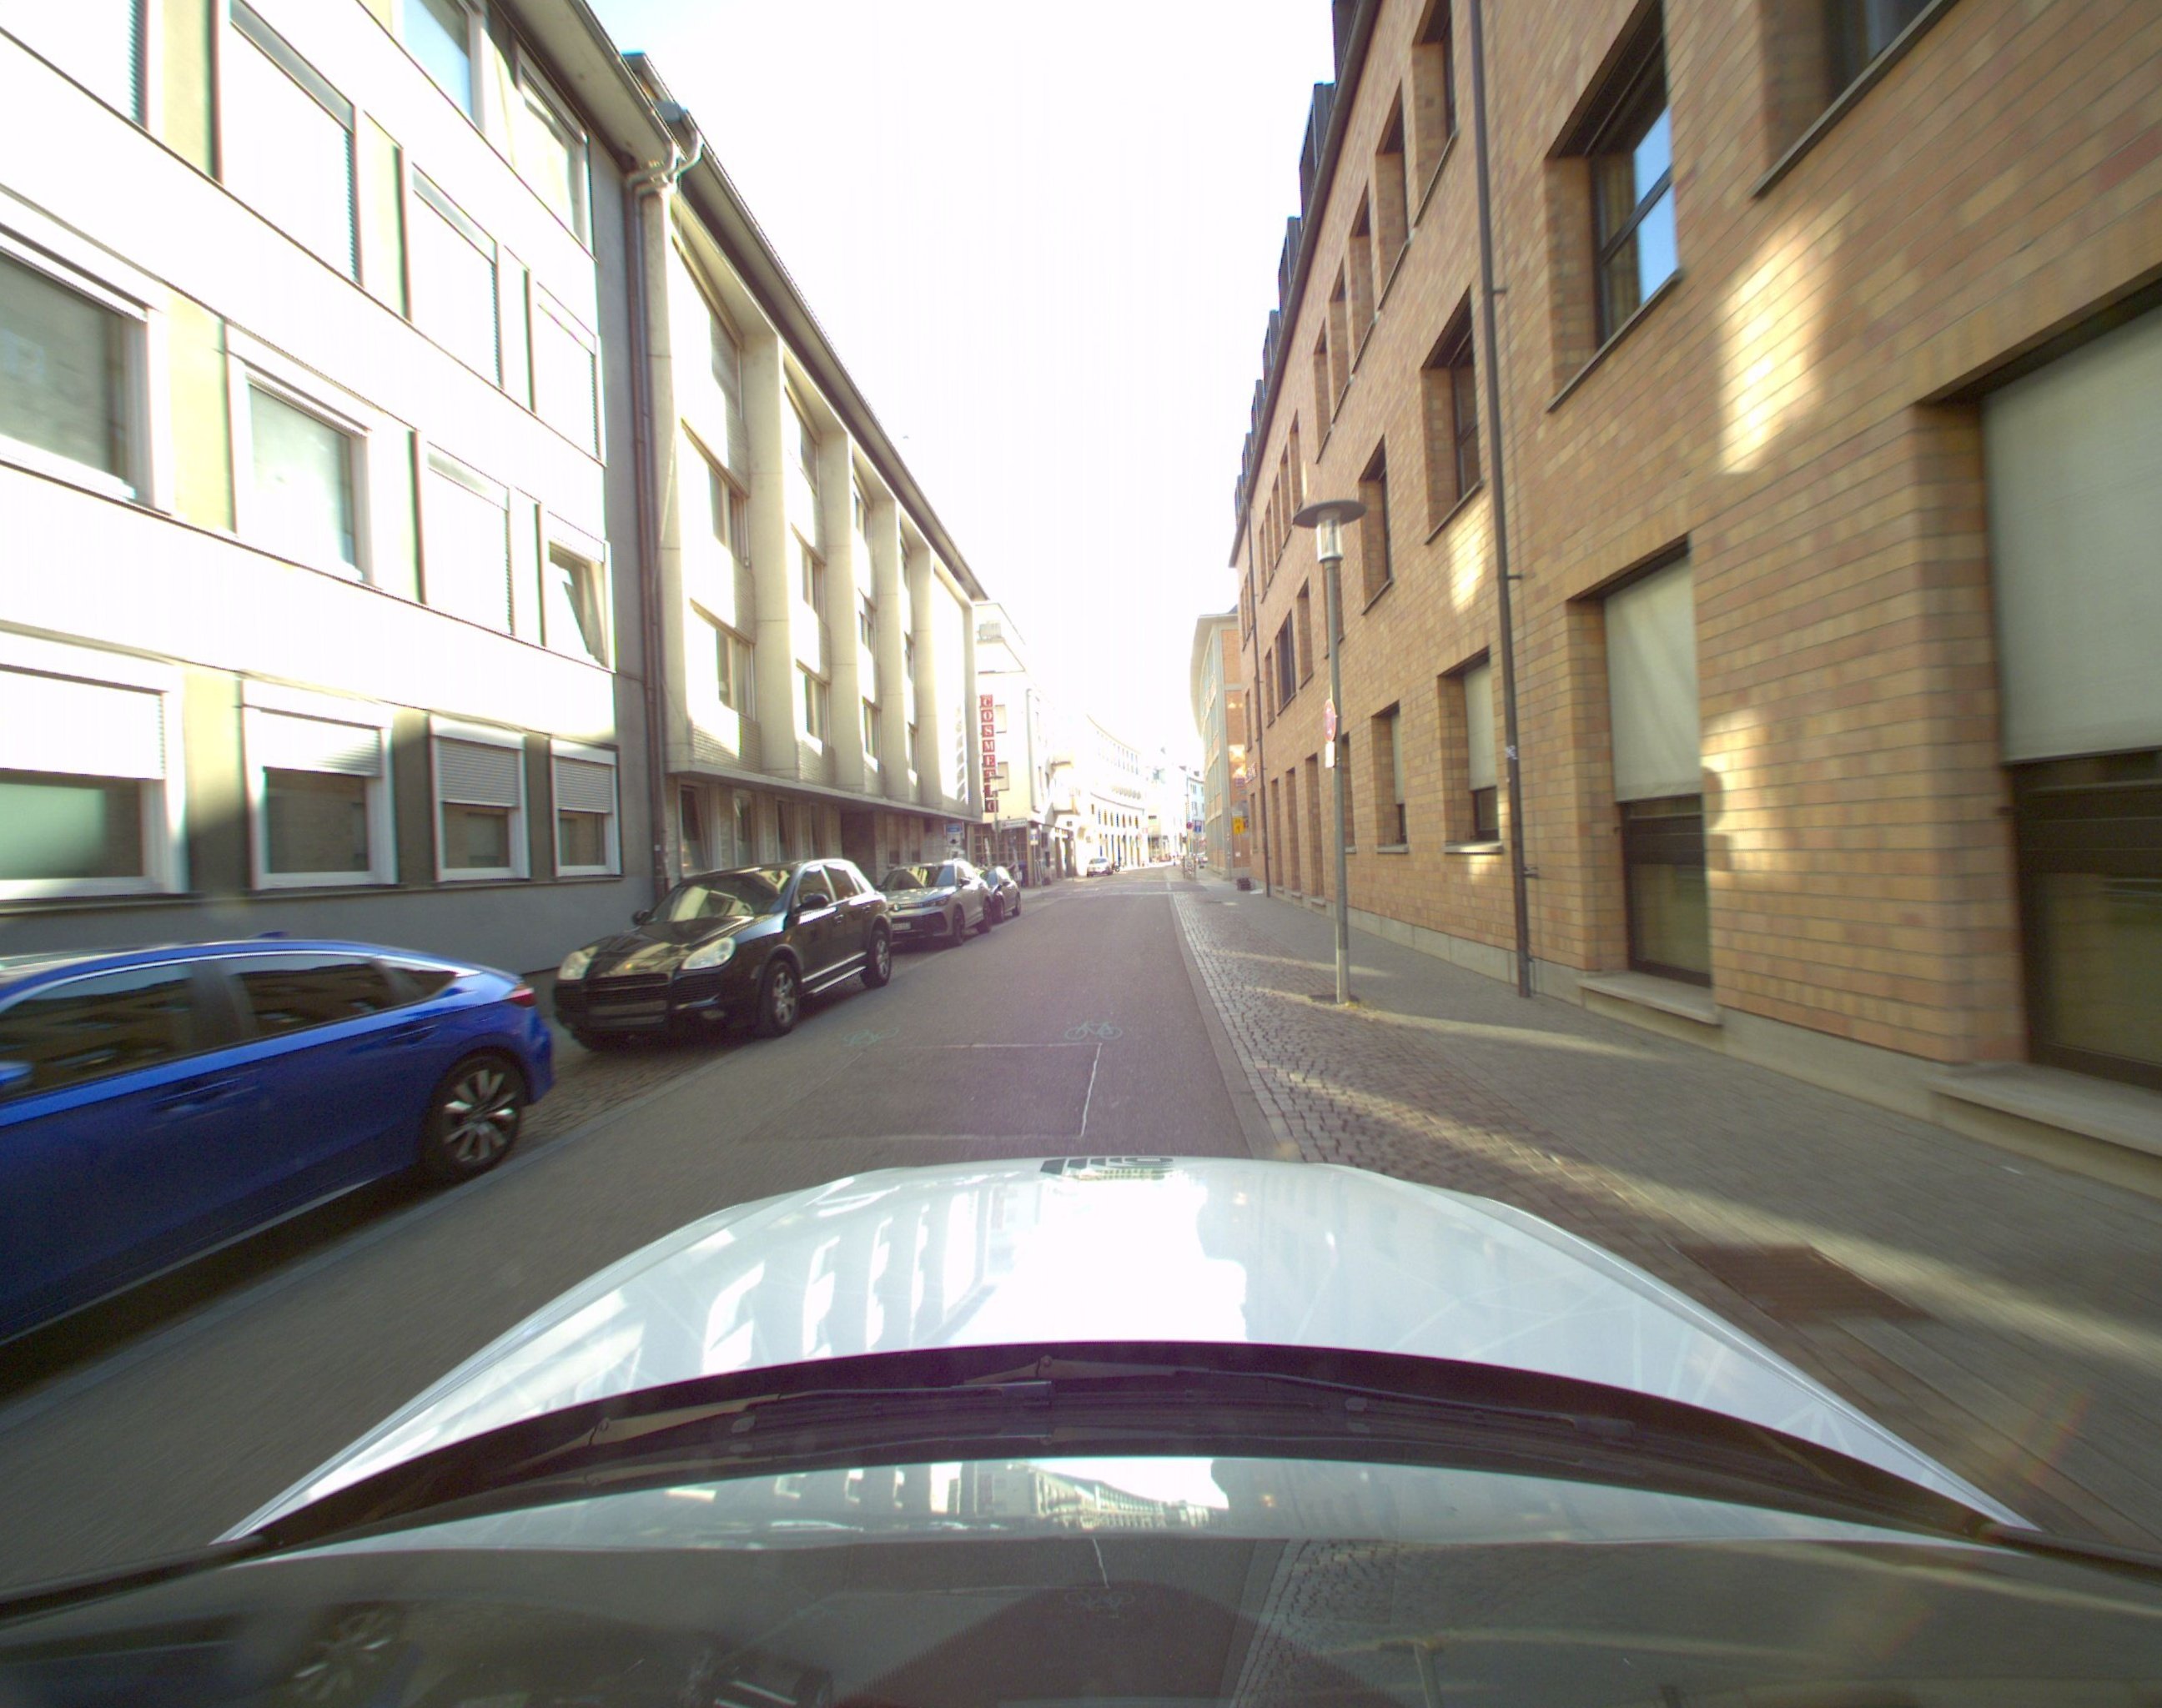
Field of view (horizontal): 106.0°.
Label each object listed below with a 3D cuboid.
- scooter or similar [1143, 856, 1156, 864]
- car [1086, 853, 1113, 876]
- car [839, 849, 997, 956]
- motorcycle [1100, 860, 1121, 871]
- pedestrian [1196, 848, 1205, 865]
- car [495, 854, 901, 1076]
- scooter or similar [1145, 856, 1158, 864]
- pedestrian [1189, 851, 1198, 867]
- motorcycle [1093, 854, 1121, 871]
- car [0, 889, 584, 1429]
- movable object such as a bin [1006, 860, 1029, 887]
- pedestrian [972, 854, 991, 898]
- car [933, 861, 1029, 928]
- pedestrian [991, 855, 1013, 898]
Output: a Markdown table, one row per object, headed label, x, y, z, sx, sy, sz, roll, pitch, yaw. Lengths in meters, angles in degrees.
| label | x | y | z | sx | sy | sz | roll | pitch | yaw |
| --- | --- | --- | --- | --- | --- | --- | --- | --- | --- |
| scooter or similar | 8.756 | 0.778 | 104.191 | 0.520 | 0.928 | 2.242 | -2 | 0 | 35 |
| car | 1.425 | 0.801 | 61.937 | 1.728 | 1.606 | 3.539 | -2 | 0 | 6 |
| car | -3.064 | 0.830 | 16.374 | 1.881 | 1.742 | 4.396 | -4 | 0 | 4 |
| motorcycle | 2.506 | 0.995 | 69.422 | 1.681 | 0.859 | 0.596 | -1 | -1 | 10 |
| pedestrian | 13.113 | 0.252 | 89.148 | 0.662 | 1.869 | 0.754 | -1 | -1 | -25 |
| car | -3.645 | 0.914 | 8.923 | 1.881 | 1.675 | 4.560 | -4 | 0 | 5 |
| scooter or similar | 9.275 | 0.774 | 107.271 | 0.520 | 0.928 | 2.242 | -2 | 0 | 35 |
| pedestrian | 13.114 | 0.612 | 94.645 | 0.662 | 1.869 | 0.780 | -1 | -1 | -25 |
| motorcycle | 2.302 | 0.792 | 73.228 | 2.379 | 1.317 | 0.863 | -4 | 0 | 5 |
| car | -4.274 | 1.058 | 3.058 | 1.882 | 1.530 | 4.343 | -4 | 0 | 3 |
| movable object such as a bin | -3.516 | 1.078 | 45.113 | 0.939 | 1.420 | 0.874 | 0 | -1 | -42 |
| pedestrian | -3.986 | 0.891 | 32.675 | 0.443 | 1.738 | 0.556 | -3 | 0 | 28 |
| car | -2.624 | 1.025 | 22.230 | 1.640 | 1.460 | 4.005 | -6 | 0 | 5 |
| pedestrian | -3.097 | 0.883 | 31.956 | 0.650 | 1.625 | 0.452 | -3 | 0 | -36 |
